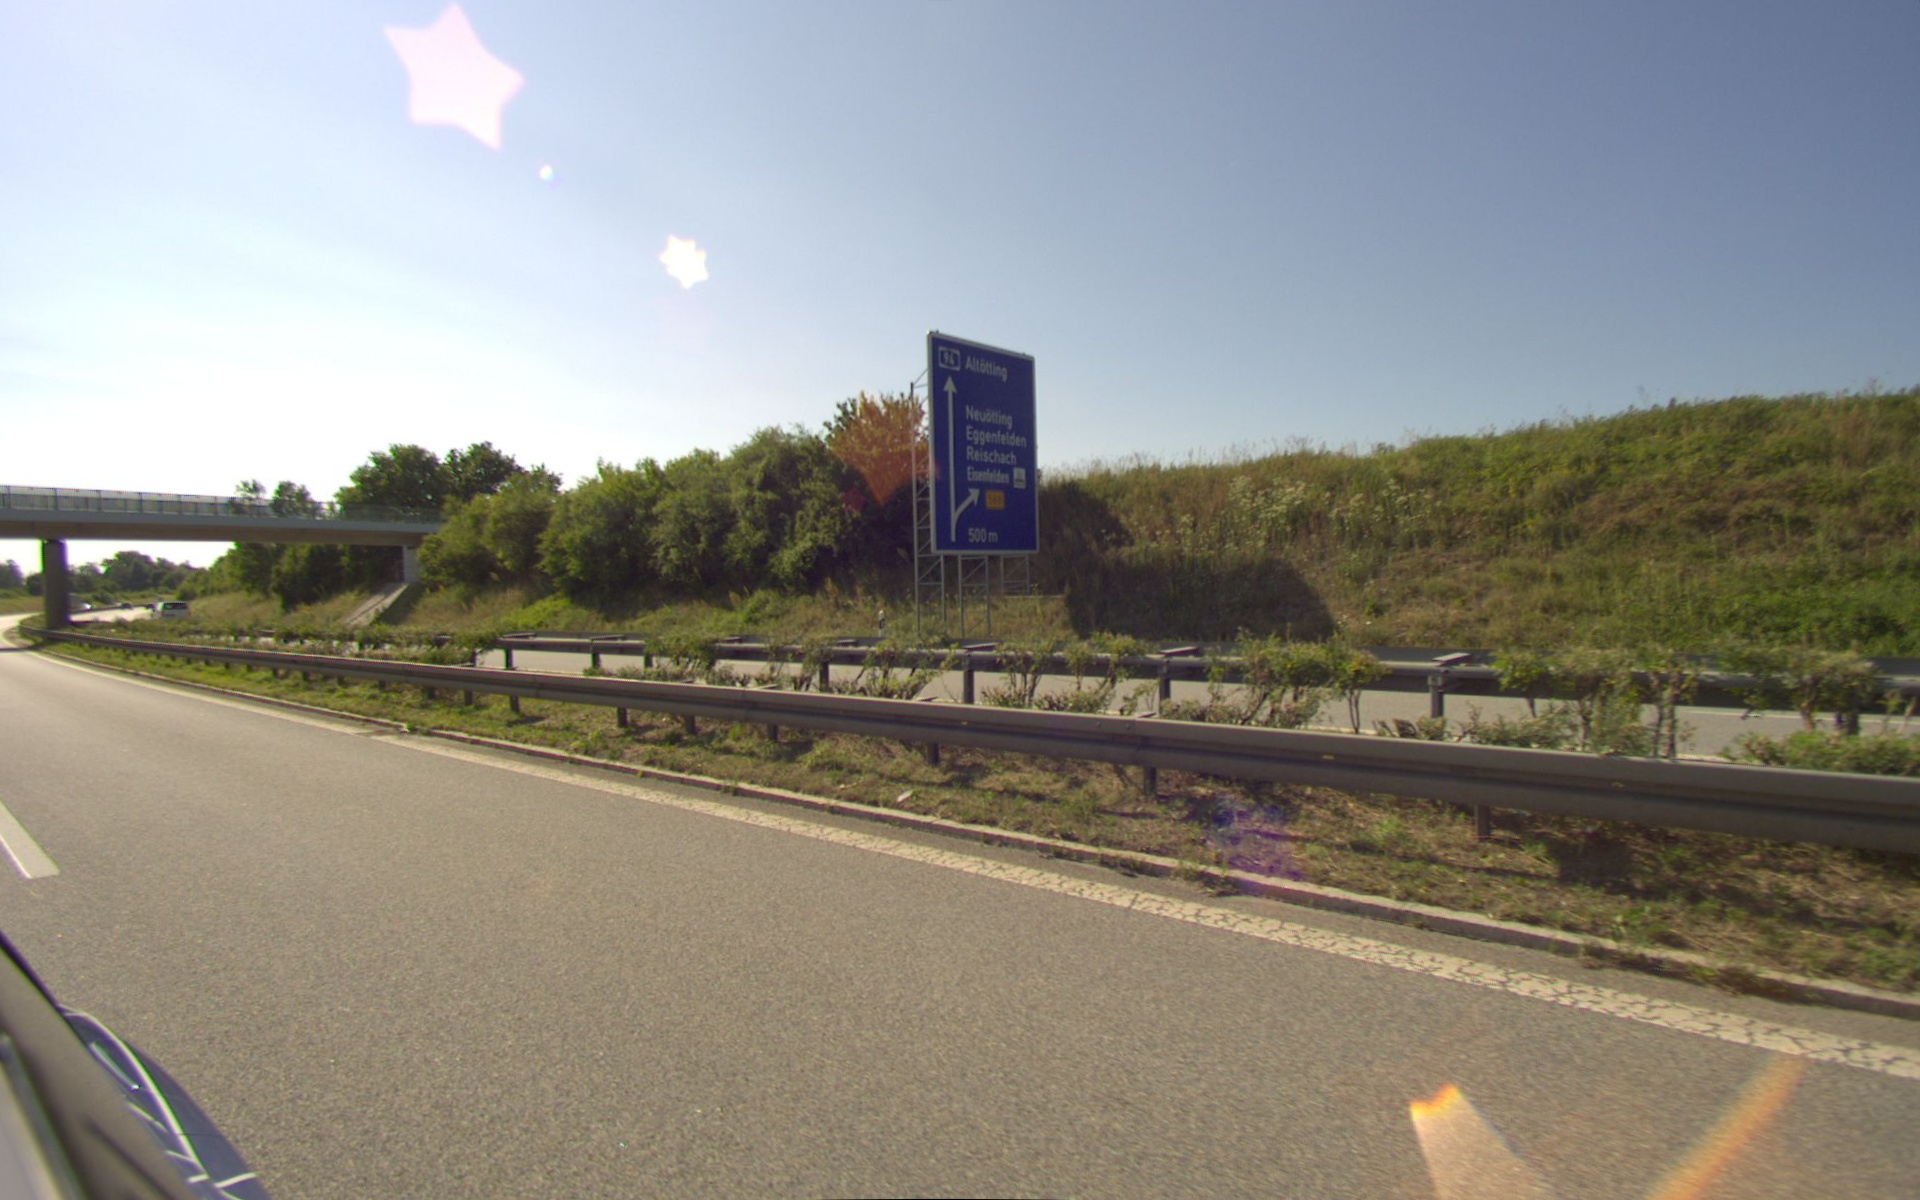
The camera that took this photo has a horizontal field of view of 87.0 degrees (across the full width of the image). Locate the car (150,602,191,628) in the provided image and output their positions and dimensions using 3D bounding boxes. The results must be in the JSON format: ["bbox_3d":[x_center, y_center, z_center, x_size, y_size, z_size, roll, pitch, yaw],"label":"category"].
[{"bbox_3d":[-59.475,1.093,76.198,4.624,1.871,1.836,-1,0,44],"label":"car"}]
